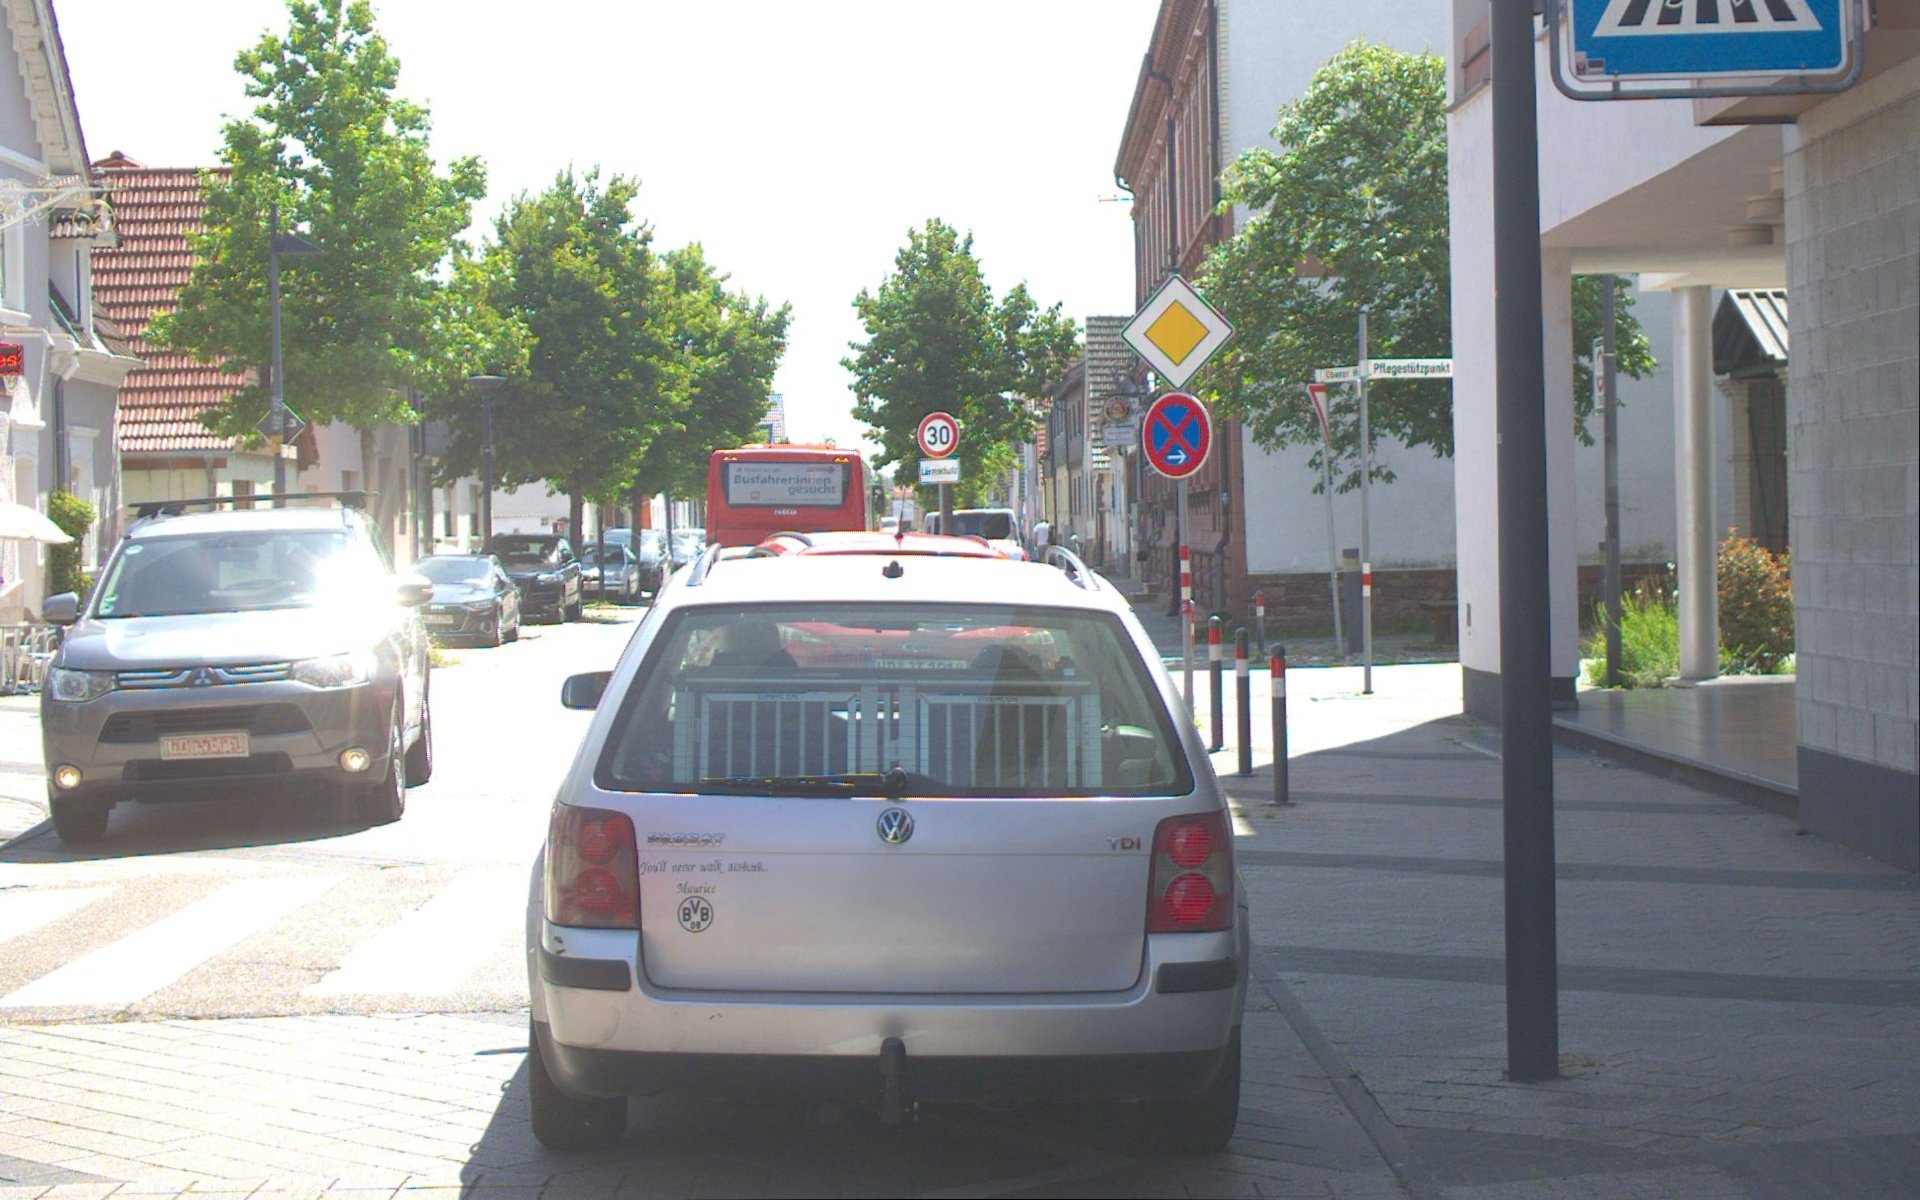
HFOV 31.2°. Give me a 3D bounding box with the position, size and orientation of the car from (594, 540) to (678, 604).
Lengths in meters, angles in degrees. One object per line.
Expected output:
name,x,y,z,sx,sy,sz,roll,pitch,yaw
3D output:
car,-8.280,-0.735,88.104,1.811,1.553,4.000,-1,1,-1

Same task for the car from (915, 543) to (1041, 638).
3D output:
car,0.231,-0.162,50.413,1.719,1.304,3.626,-1,1,-1

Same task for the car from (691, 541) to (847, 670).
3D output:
car,-2.177,0.030,39.929,1.593,1.425,3.679,0,1,0

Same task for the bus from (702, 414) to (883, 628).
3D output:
bus,-2.738,-1.314,59.661,2.740,3.287,12.706,-1,1,-1

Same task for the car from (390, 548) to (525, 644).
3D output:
car,-8.016,-0.087,55.074,1.605,1.433,4.065,-1,1,-1

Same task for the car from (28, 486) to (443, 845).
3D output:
car,-3.858,0.279,18.929,1.674,1.710,4.233,-1,1,-5

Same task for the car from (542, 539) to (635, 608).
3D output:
car,-8.772,-0.646,81.419,1.811,1.553,4.000,-1,1,-1

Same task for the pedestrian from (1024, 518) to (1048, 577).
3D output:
pedestrian,2.175,-1.494,98.416,0.606,1.661,0.789,-1,1,-2

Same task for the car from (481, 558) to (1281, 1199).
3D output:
car,-0.196,0.630,9.163,1.677,1.425,3.680,1,1,-1

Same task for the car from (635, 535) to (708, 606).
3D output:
car,-8.430,-0.876,100.684,1.811,1.989,4.000,-1,1,-1

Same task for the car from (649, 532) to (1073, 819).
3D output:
car,-0.650,0.345,19.209,1.676,1.425,3.680,-1,1,-13

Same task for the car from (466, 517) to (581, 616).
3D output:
car,-8.424,-0.663,66.649,1.764,1.831,3.789,-1,1,-1

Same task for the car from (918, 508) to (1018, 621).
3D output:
car,0.128,-0.692,65.646,1.787,2.075,3.626,-1,1,-1
